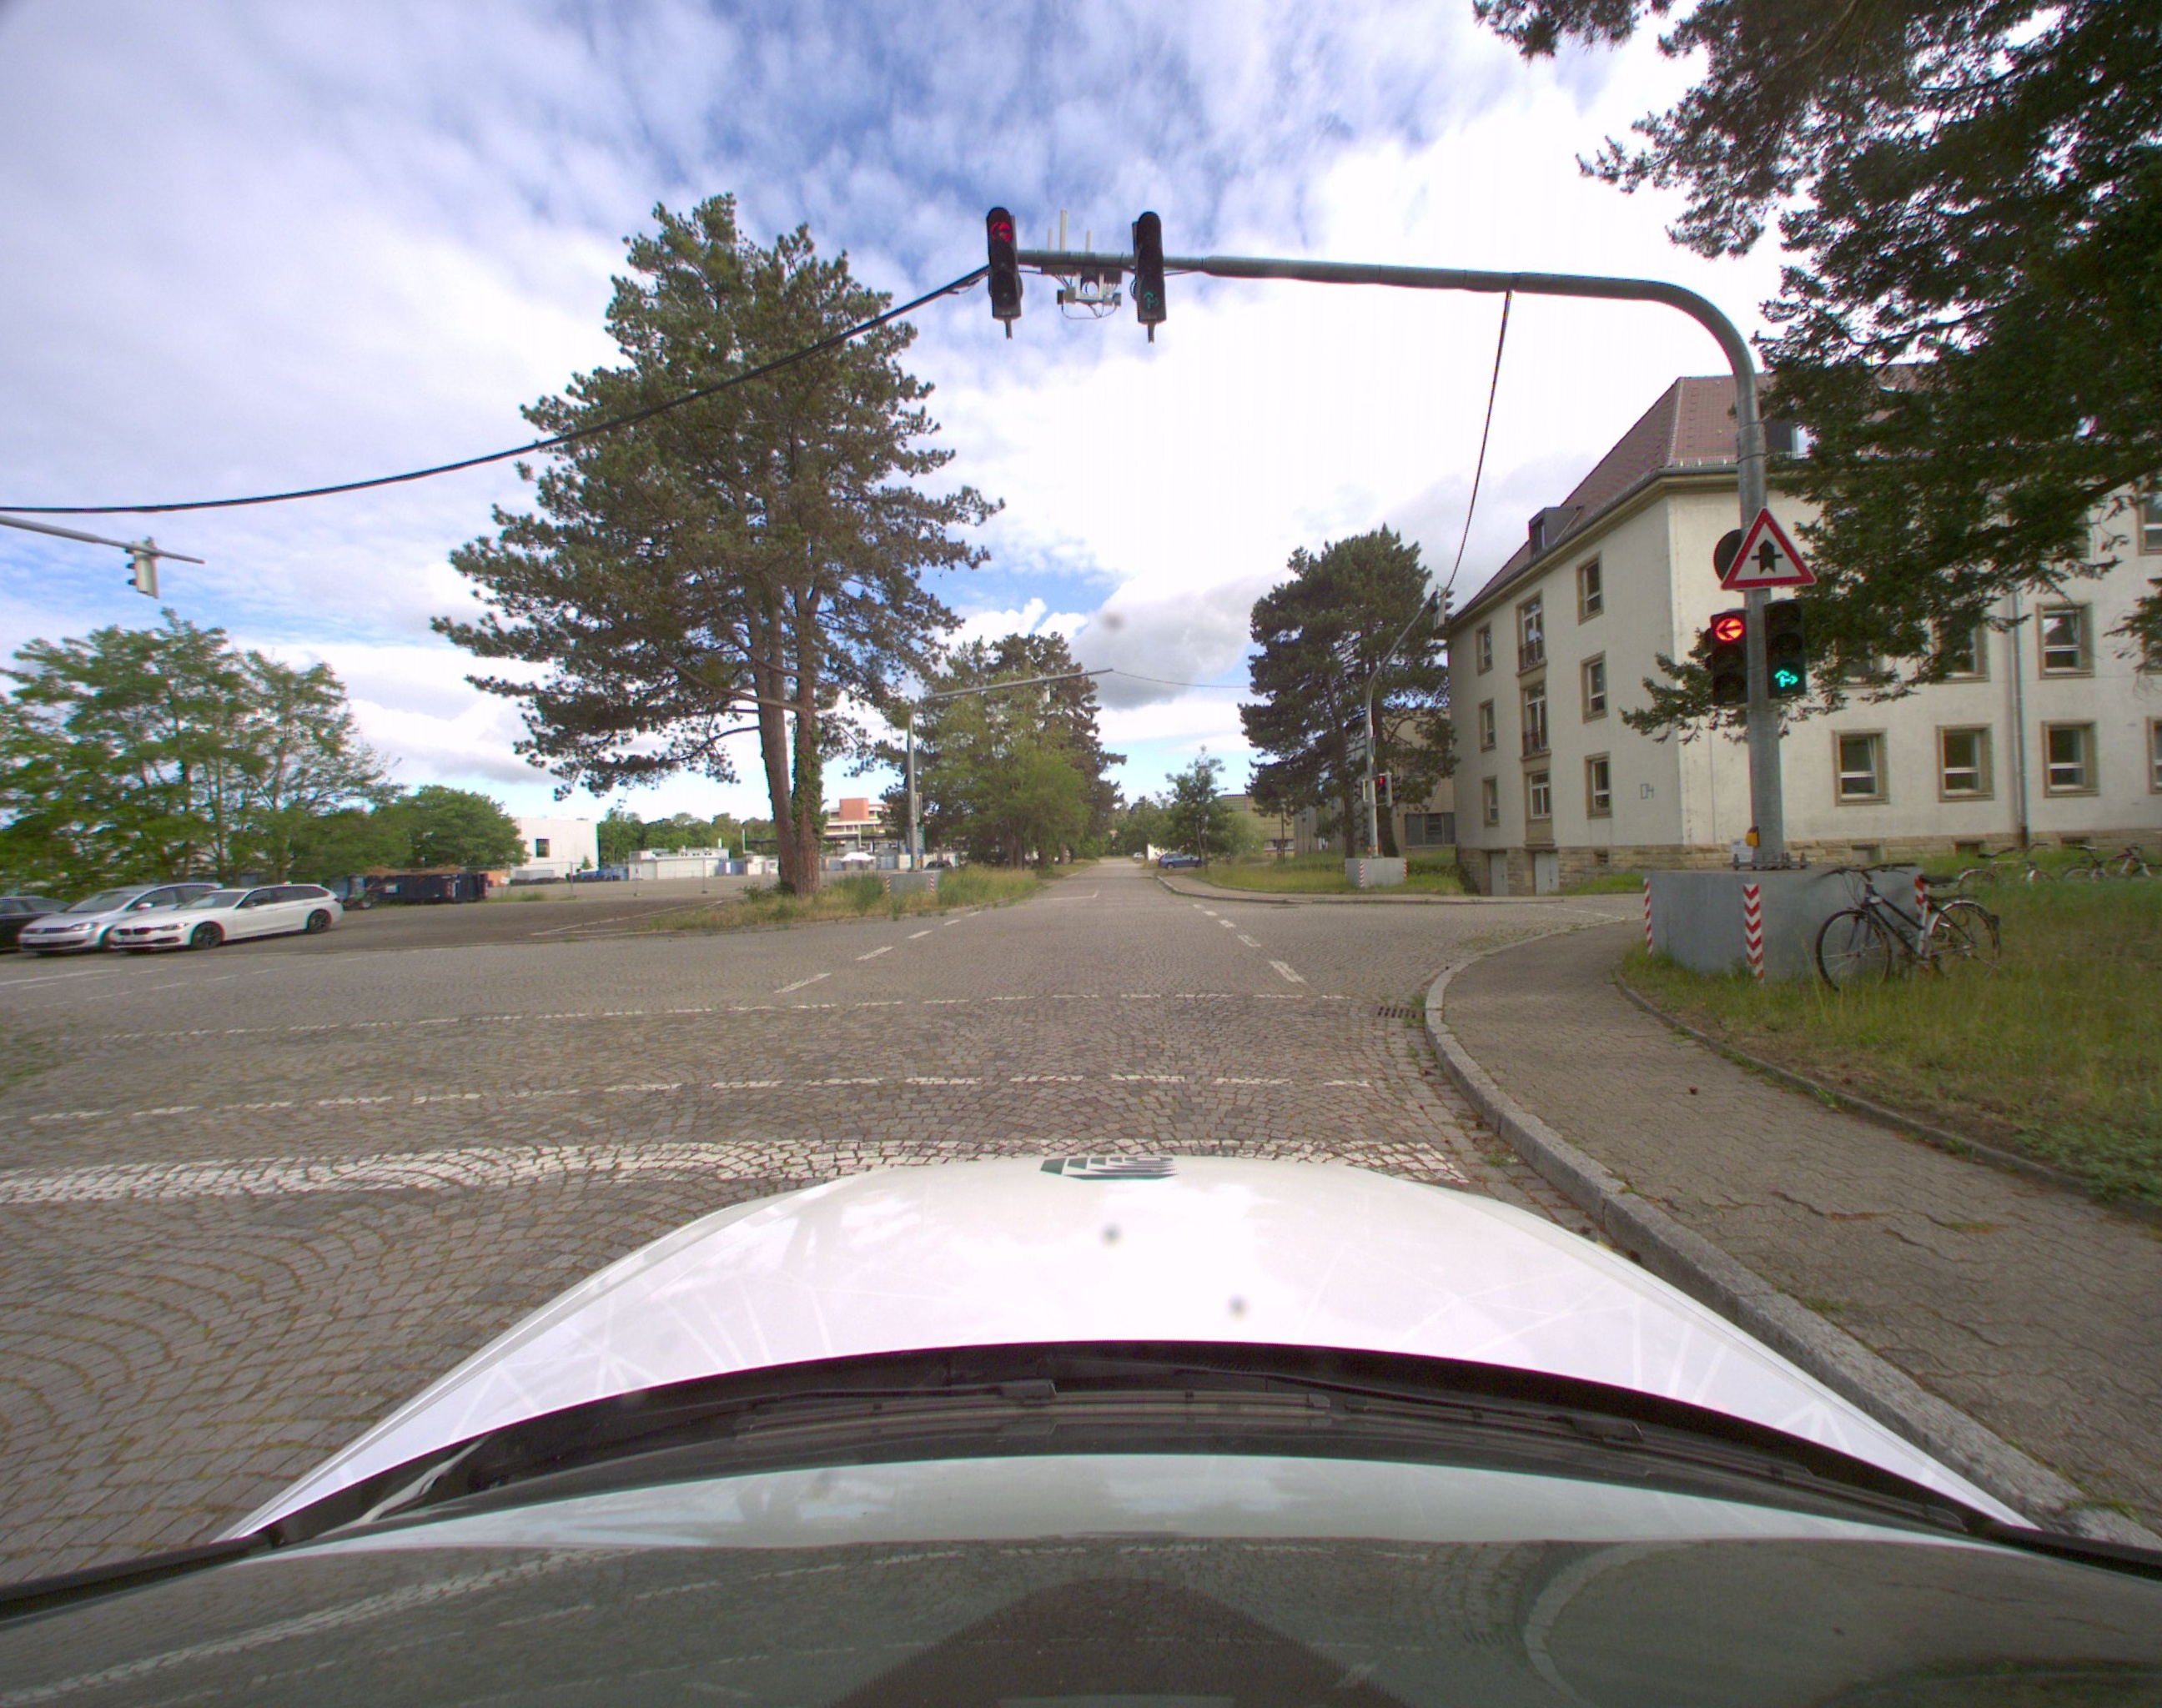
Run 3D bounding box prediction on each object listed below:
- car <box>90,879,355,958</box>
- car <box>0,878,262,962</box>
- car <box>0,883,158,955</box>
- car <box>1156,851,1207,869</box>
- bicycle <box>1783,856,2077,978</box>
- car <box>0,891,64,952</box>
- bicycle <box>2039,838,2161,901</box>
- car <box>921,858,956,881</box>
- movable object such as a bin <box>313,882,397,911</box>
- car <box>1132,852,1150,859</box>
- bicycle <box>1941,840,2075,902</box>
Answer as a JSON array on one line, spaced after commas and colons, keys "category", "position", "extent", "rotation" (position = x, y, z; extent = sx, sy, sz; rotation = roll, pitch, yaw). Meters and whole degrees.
[{"category": "car", "position": [-22.067, 1.574, 21.307], "extent": [1.804, 1.441, 4.741], "rotation": [-2, 2, 0]}, {"category": "car", "position": [-24.560, 1.615, 21.304], "extent": [1.816, 1.584, 4.326], "rotation": [-2, 2, 0]}, {"category": "car", "position": [-27.325, 1.703, 21.060], "extent": [1.849, 1.501, 4.326], "rotation": [-2, 2, 0]}, {"category": "car", "position": [8.933, 0.522, 72.498], "extent": [4.329, 1.422, 2.000], "rotation": [-2, 0, 0]}, {"category": "bicycle", "position": [6.764, 0.487, 6.545], "extent": [1.693, 0.874, 0.573], "rotation": [-2, 0, 2]}, {"category": "car", "position": [-29.996, 1.881, 21.114], "extent": [1.787, 1.566, 4.325], "rotation": [-2, 0, 0]}, {"category": "bicycle", "position": [17.457, 0.258, 13.891], "extent": [1.530, 1.014, 0.543], "rotation": [-2, 0, 1]}, {"category": "car", "position": [-10.158, 1.077, 58.327], "extent": [1.606, 1.487, 4.003], "rotation": [-2, 0, 3]}, {"category": "movable object such as a bin", "position": [-30.354, 1.750, 34.128], "extent": [1.175, 1.048, 2.656], "rotation": [-2, 0, -2]}, {"category": "car", "position": [14.003, 0.383, 189.552], "extent": [3.978, 1.398, 1.998], "rotation": [-2, 0, -3]}, {"category": "bicycle", "position": [15.702, 0.284, 13.816], "extent": [1.614, 0.980, 0.530], "rotation": [-2, 0, 1]}]
